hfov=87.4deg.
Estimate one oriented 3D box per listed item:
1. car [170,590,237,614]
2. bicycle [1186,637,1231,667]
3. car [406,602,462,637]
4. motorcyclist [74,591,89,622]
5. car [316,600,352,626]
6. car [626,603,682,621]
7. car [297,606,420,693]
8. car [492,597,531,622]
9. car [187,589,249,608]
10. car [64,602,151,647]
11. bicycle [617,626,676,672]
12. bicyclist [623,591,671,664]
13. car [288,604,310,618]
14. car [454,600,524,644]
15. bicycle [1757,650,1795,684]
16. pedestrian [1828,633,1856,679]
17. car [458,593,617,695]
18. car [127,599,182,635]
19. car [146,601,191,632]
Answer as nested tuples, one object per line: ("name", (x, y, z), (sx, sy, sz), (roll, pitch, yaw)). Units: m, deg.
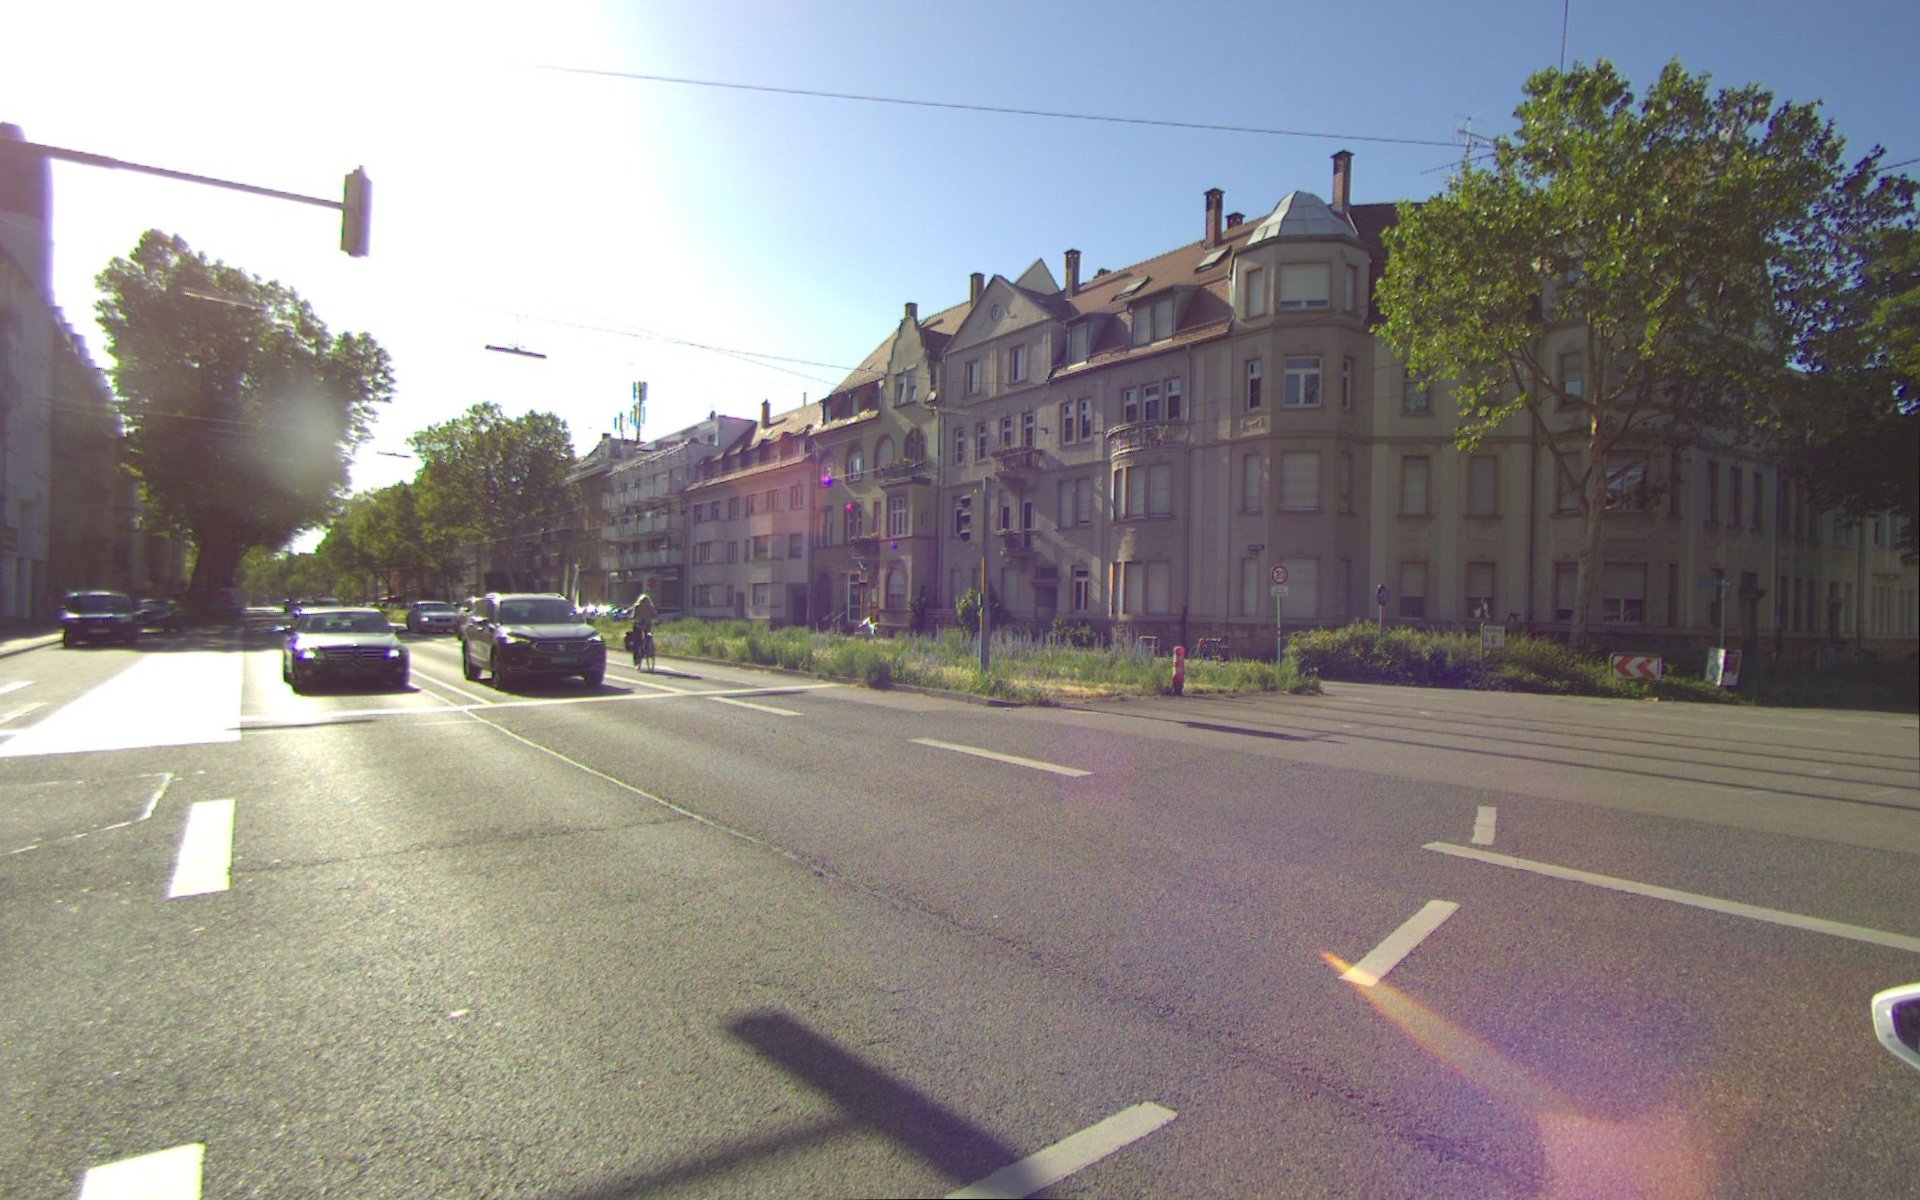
("car", (-58.683, 0.118, 77.991), (1.809, 1.729, 3.810), (2, 2, 14))
("bicycle", (8.105, 1.686, 32.855), (0.492, 0.917, 1.423), (2, -1, -37))
("car", (-24.101, 0.856, 45.947), (1.749, 1.550, 3.857), (0, 0, -36))
("motorcyclist", (-42.164, 0.333, 48.188), (0.448, 1.466, 0.551), (3, -1, -38))
("car", (-40.512, 0.826, 65.030), (1.703, 1.572, 3.970), (1, -1, -29))
("car", (-24.420, 0.980, 80.232), (3.962, 1.325, 1.527), (2, -1, -37))
("car", (-11.277, 0.843, 18.717), (1.748, 1.408, 3.859), (1, 0, -34))
("car", (-34.513, 0.739, 77.268), (1.967, 1.860, 4.073), (2, -1, -36))
("car", (-71.037, -0.177, 96.229), (1.809, 1.729, 4.593), (2, 2, 16))
("car", (-28.157, 0.778, 33.295), (1.748, 1.407, 3.859), (2, -1, -34))
("bicycle", (-6.864, 1.050, 21.952), (0.787, 0.937, 1.621), (1, 0, -34))
("bicyclist", (-6.848, 0.591, 21.936), (0.680, 1.563, 1.064), (2, -1, -34))
("car", (-73.968, 1.234, 112.440), (1.703, 1.572, 3.765), (1, -1, -29))
("car", (-17.569, 0.797, 37.382), (1.748, 1.550, 3.982), (2, -1, -34))
("bicycle", (30.168, 2.453, 37.141), (1.962, 1.169, 0.510), (1, 2, -34))
("pedestrian", (32.940, 2.087, 37.526), (0.883, 1.680, 0.458), (2, -1, -26))
("car", (-8.011, 0.728, 18.830), (1.979, 1.667, 4.200), (0, 0, -34))
("car", (-37.082, 0.768, 46.299), (1.625, 1.609, 3.371), (0, 0, -33))
("car", (-43.664, 0.889, 55.466), (1.625, 1.609, 3.371), (0, 0, -33))
